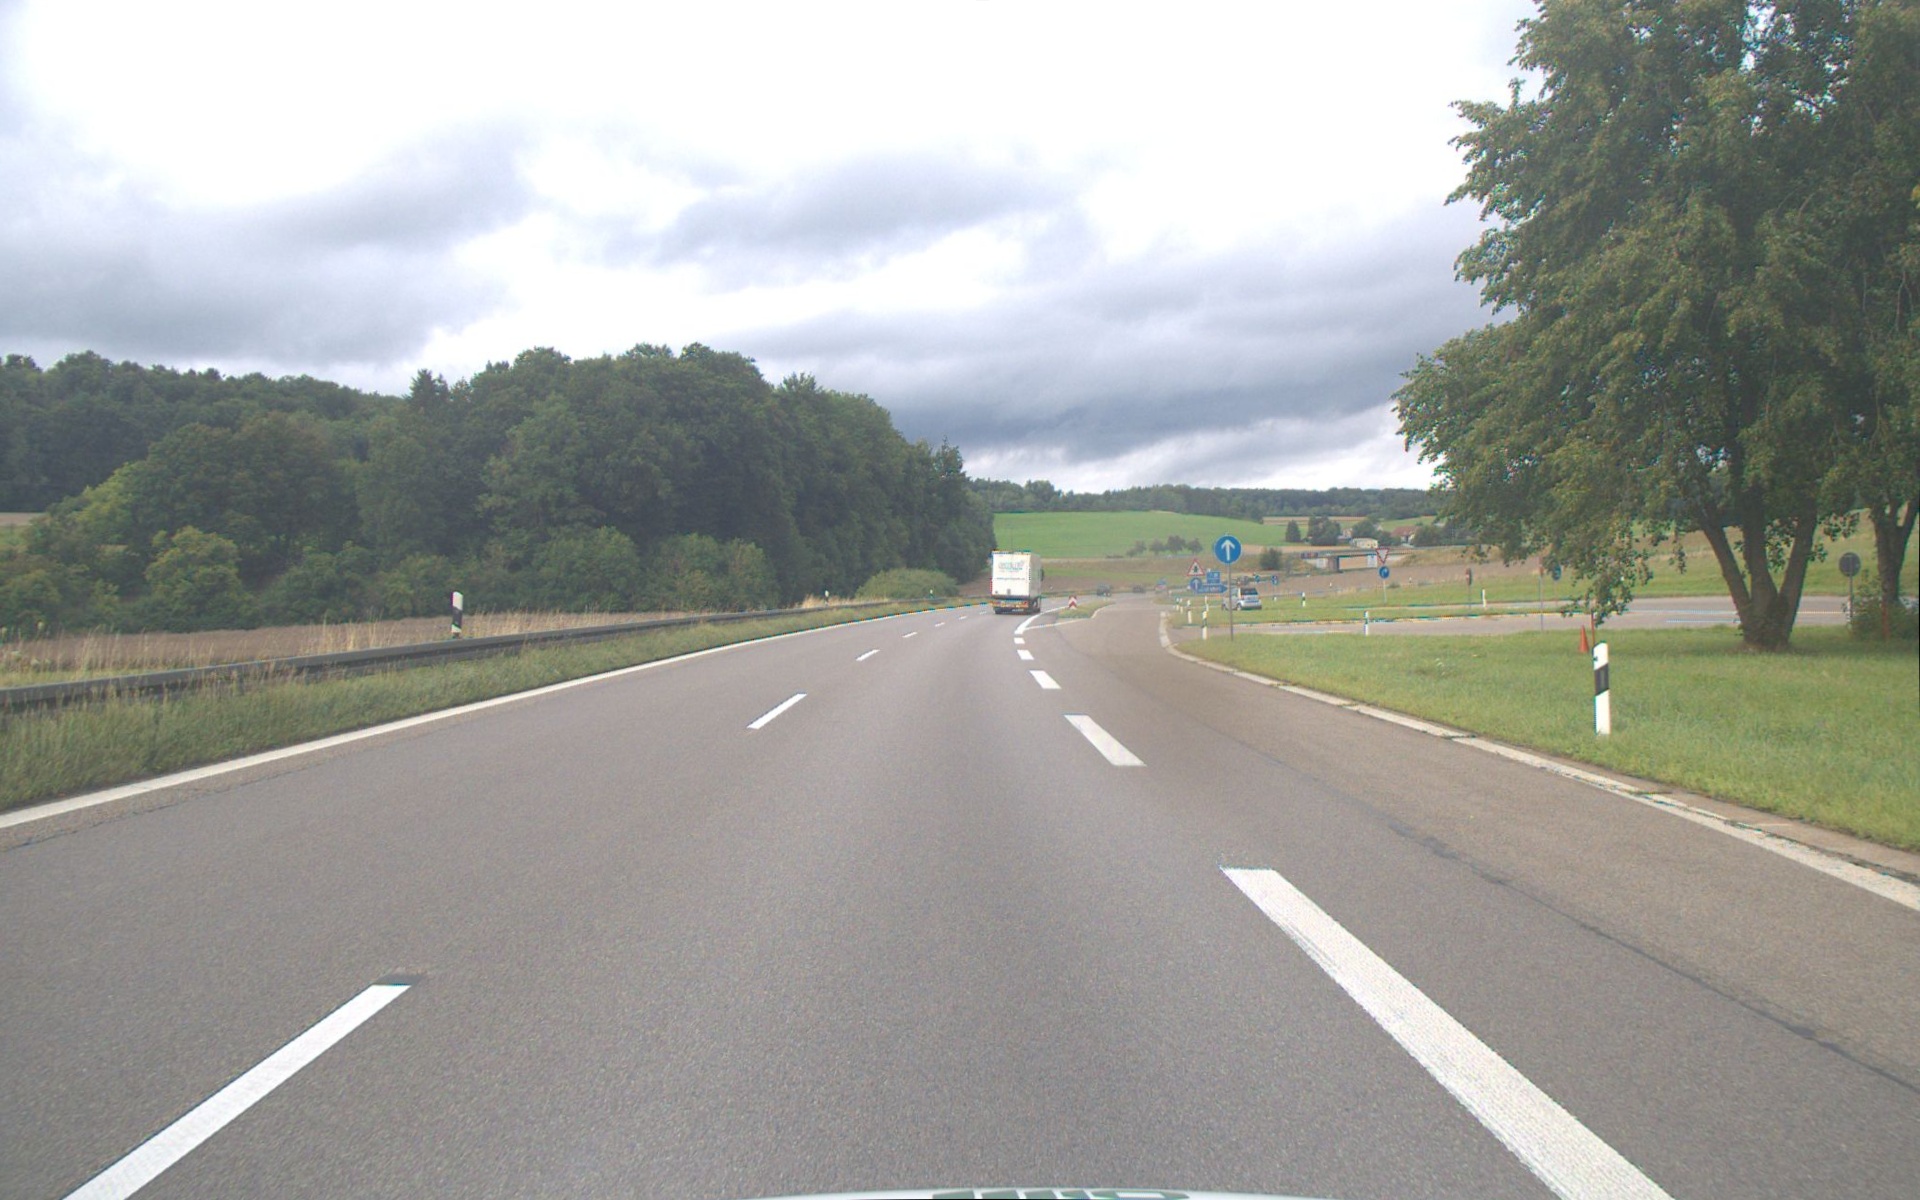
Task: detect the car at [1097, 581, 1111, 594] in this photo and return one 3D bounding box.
[{"bbox_3d":[21.650,-1.893,248.963,1.862,1.827,4.003,0,-1,9],"label":"car"}]

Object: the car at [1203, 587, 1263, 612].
[{"bbox_3d":[17.335,-0.049,105.154,1.757,1.579,3.963,-1,1,-28],"label":"car"}]

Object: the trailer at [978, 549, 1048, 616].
[{"bbox_3d":[3.741,-1.162,111.866,3.725,4.247,14.818,0,0,6],"label":"trailer"}]
